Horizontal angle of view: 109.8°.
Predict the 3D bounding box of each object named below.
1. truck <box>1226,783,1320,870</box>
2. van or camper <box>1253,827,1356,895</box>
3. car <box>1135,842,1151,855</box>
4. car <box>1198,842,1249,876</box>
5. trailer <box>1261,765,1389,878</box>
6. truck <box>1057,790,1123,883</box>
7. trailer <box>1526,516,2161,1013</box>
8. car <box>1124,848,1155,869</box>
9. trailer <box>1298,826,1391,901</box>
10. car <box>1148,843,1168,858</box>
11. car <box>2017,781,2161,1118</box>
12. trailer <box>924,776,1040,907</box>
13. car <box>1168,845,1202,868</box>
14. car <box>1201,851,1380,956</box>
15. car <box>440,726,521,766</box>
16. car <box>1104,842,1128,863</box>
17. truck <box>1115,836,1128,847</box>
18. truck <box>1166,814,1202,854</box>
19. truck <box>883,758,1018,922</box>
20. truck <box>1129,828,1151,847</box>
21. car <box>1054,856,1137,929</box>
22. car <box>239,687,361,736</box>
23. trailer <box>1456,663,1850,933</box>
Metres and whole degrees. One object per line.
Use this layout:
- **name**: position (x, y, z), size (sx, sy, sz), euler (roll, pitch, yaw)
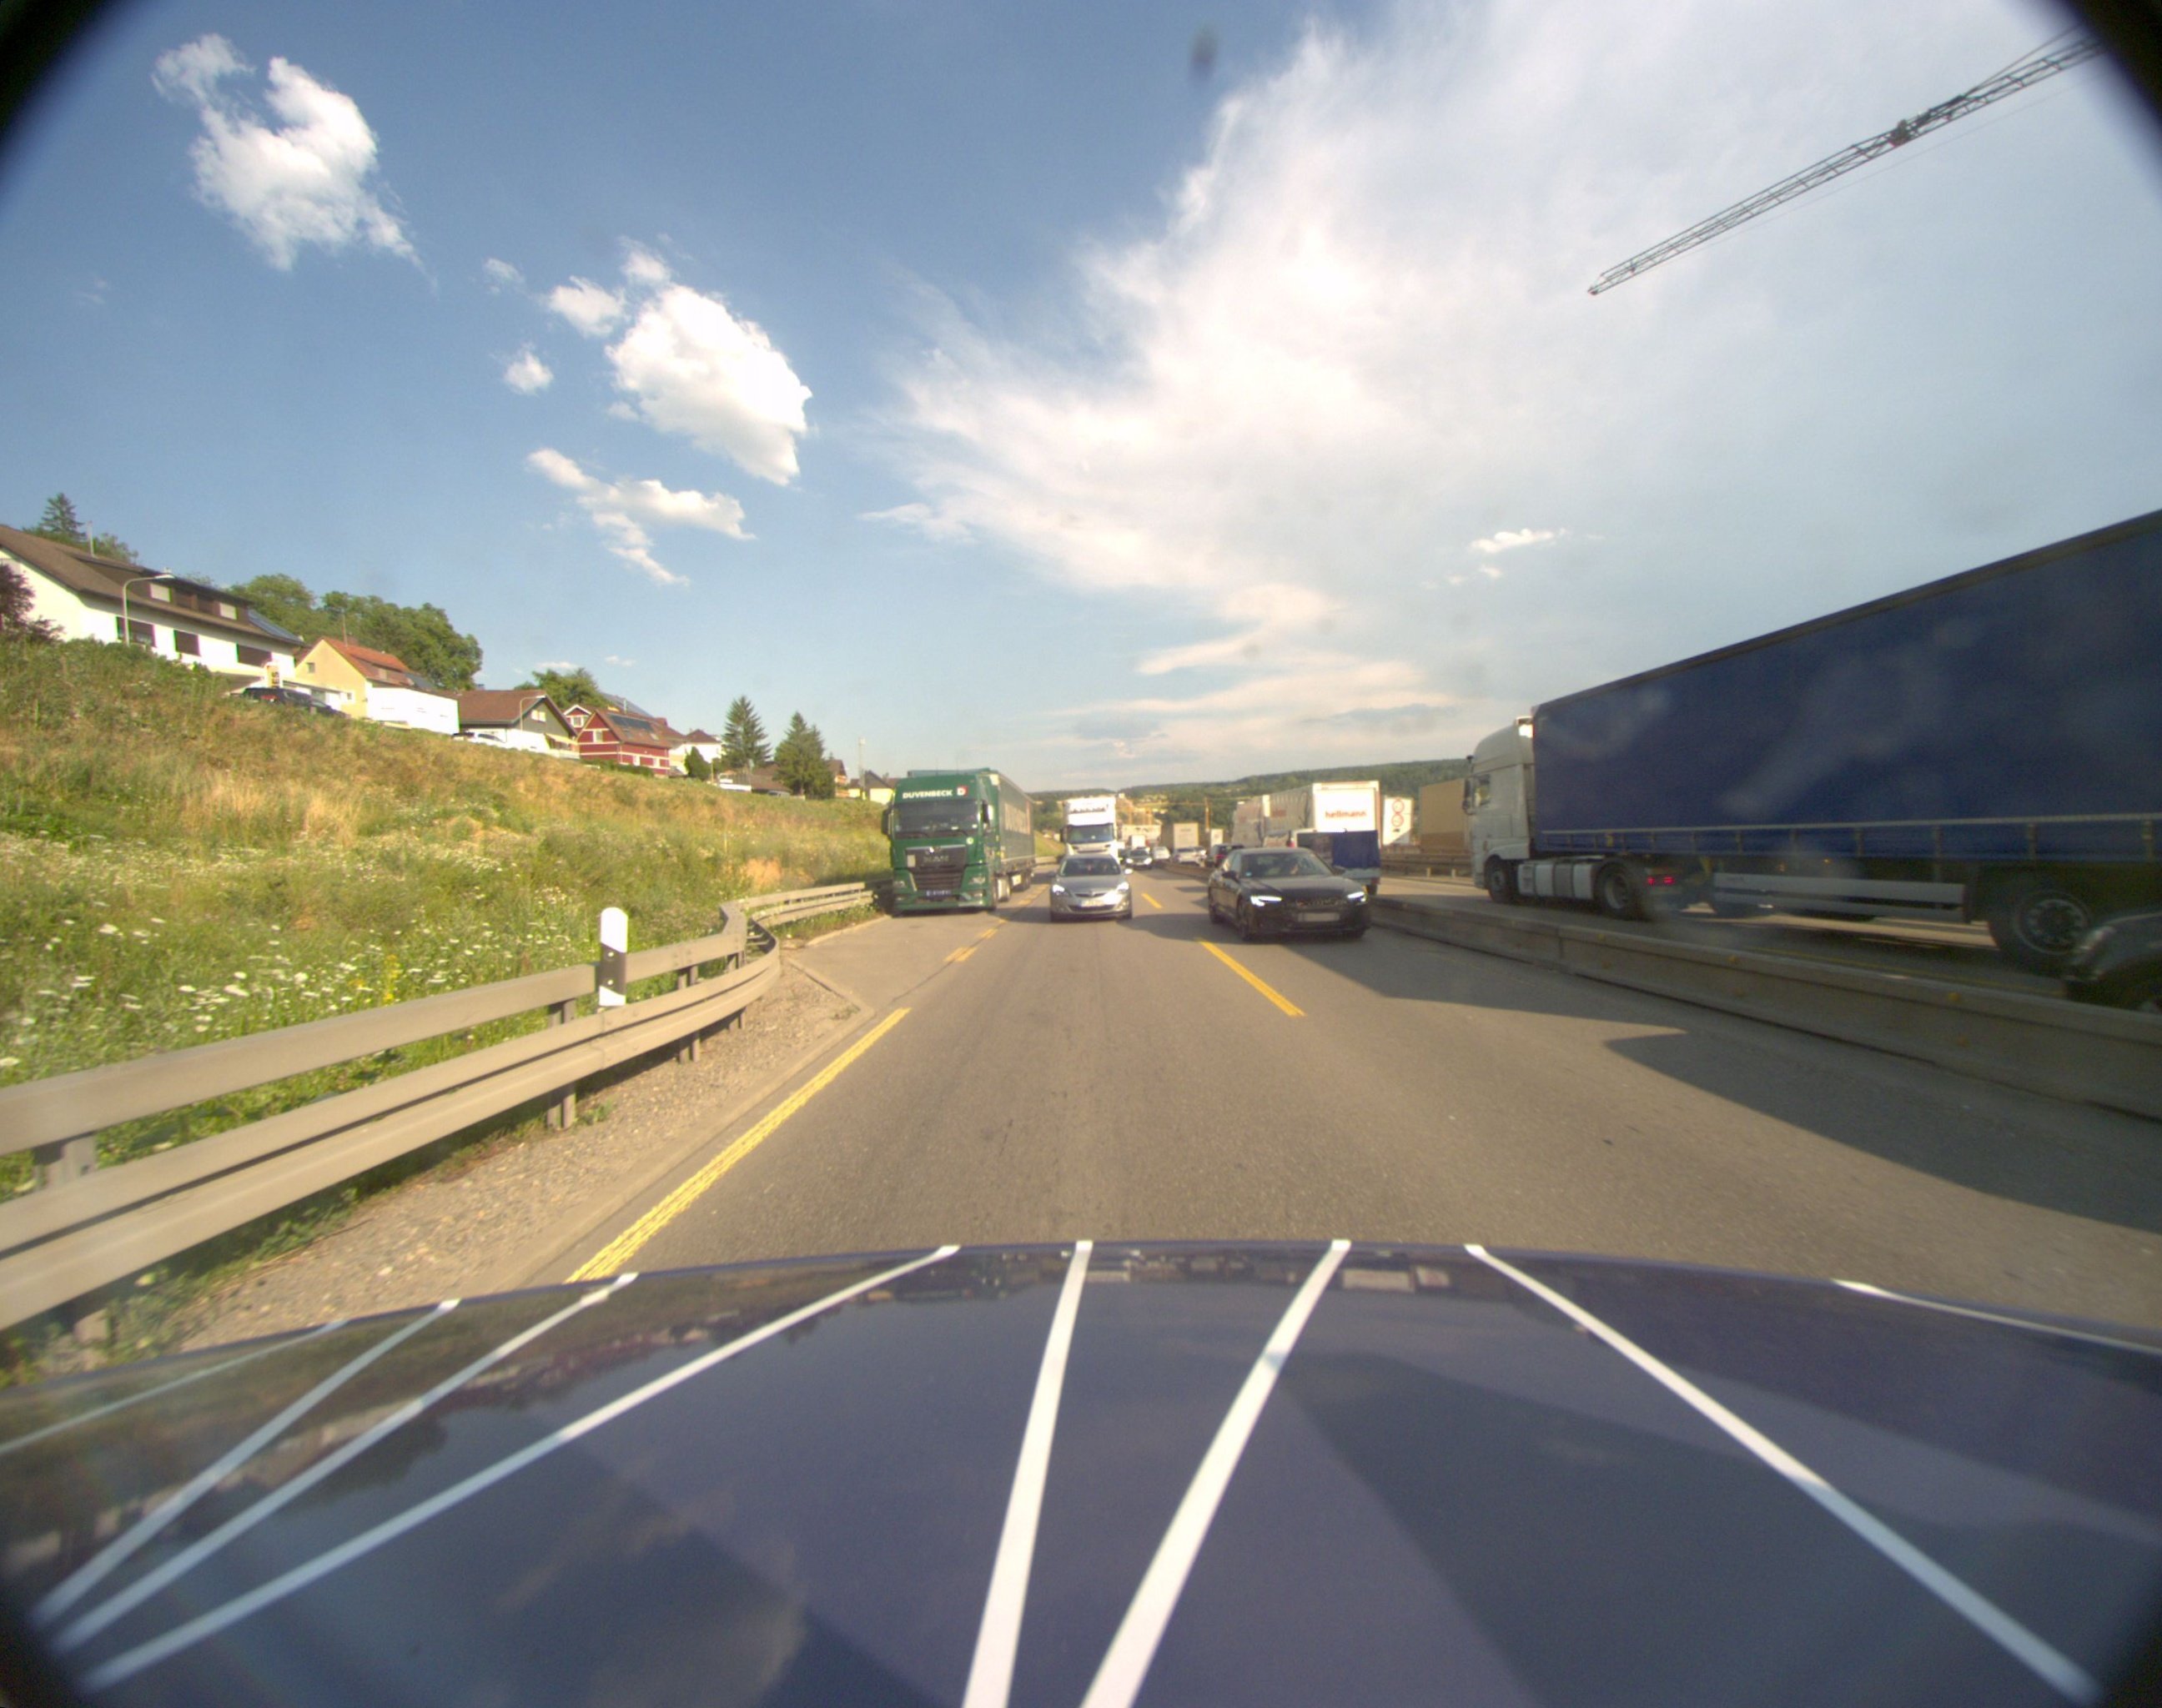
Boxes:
- **truck**: position (10.609, -1.456, 43.195), size (2.834, 4.239, 10.071), euler (-2, 1, 1)
- **van or camper**: position (7.059, 0.165, 24.600), size (1.868, 1.881, 5.003), euler (-2, 1, 1)
- **car**: position (8.322, -0.726, 101.505), size (1.808, 1.652, 4.000), euler (-2, 1, 1)
- **car**: position (7.197, 0.211, 38.670), size (1.861, 1.565, 3.999), euler (-2, 1, 1)
- **trailer**: position (10.470, -1.318, 33.753), size (2.834, 4.258, 8.734), euler (-2, 1, 1)
- **truck**: position (0.535, -0.889, 40.241), size (2.741, 4.033, 12.669), euler (-2, 1, 1)
- **trailer**: position (10.239, -0.793, 8.141), size (2.932, 4.013, 13.772), euler (-2, 1, 1)
- **car**: position (4.004, 0.265, 52.239), size (1.692, 1.293, 3.882), euler (-2, 1, -1)
- **trailer**: position (7.046, 0.222, 20.574), size (1.452, 1.843, 2.984), euler (-2, 1, 1)
- **car**: position (7.661, -0.377, 75.694), size (1.624, 1.448, 3.232), euler (-2, 1, 0)
- **car**: position (6.720, 0.508, 2.311), size (1.785, 1.832, 4.852), euler (-2, 1, 1)
- **trailer**: position (-3.362, -0.452, 29.342), size (2.554, 3.911, 12.077), euler (-2, 1, 1)
- **car**: position (7.416, 0.132, 54.395), size (1.889, 1.499, 3.999), euler (-2, 1, 1)
- **car**: position (3.336, 0.701, 13.004), size (1.873, 1.411, 4.348), euler (-2, 1, 1)
- **car**: position (-38.990, -6.971, 49.485), size (1.999, 2.002, 3.999), euler (-2, 1, 0)
- **car**: position (3.073, -0.120, 67.902), size (1.998, 1.739, 4.000), euler (-1, 0, 1)
- **truck**: position (13.451, -4.277, 253.060), size (3.458, 3.476, 10.733), euler (-2, 1, 1)
- **truck**: position (11.273, -2.129, 83.507), size (2.873, 4.038, 7.598), euler (-2, 1, 1)
- **truck**: position (-3.498, -0.385, 21.949), size (2.547, 3.992, 6.071), euler (-2, 1, 1)
- **truck**: position (12.230, -3.354, 158.434), size (3.876, 3.766, 9.141), euler (-2, 1, 1)
- **car**: position (0.315, 0.794, 17.374), size (1.671, 1.425, 3.524), euler (-1, 1, 1)
- **car**: position (-37.766, -6.848, 36.903), size (2.000, 1.631, 3.997), euler (-2, 1, -8)
- **trailer**: position (10.314, -0.888, 14.755), size (2.932, 4.013, 6.222), euler (-2, 1, 1)
